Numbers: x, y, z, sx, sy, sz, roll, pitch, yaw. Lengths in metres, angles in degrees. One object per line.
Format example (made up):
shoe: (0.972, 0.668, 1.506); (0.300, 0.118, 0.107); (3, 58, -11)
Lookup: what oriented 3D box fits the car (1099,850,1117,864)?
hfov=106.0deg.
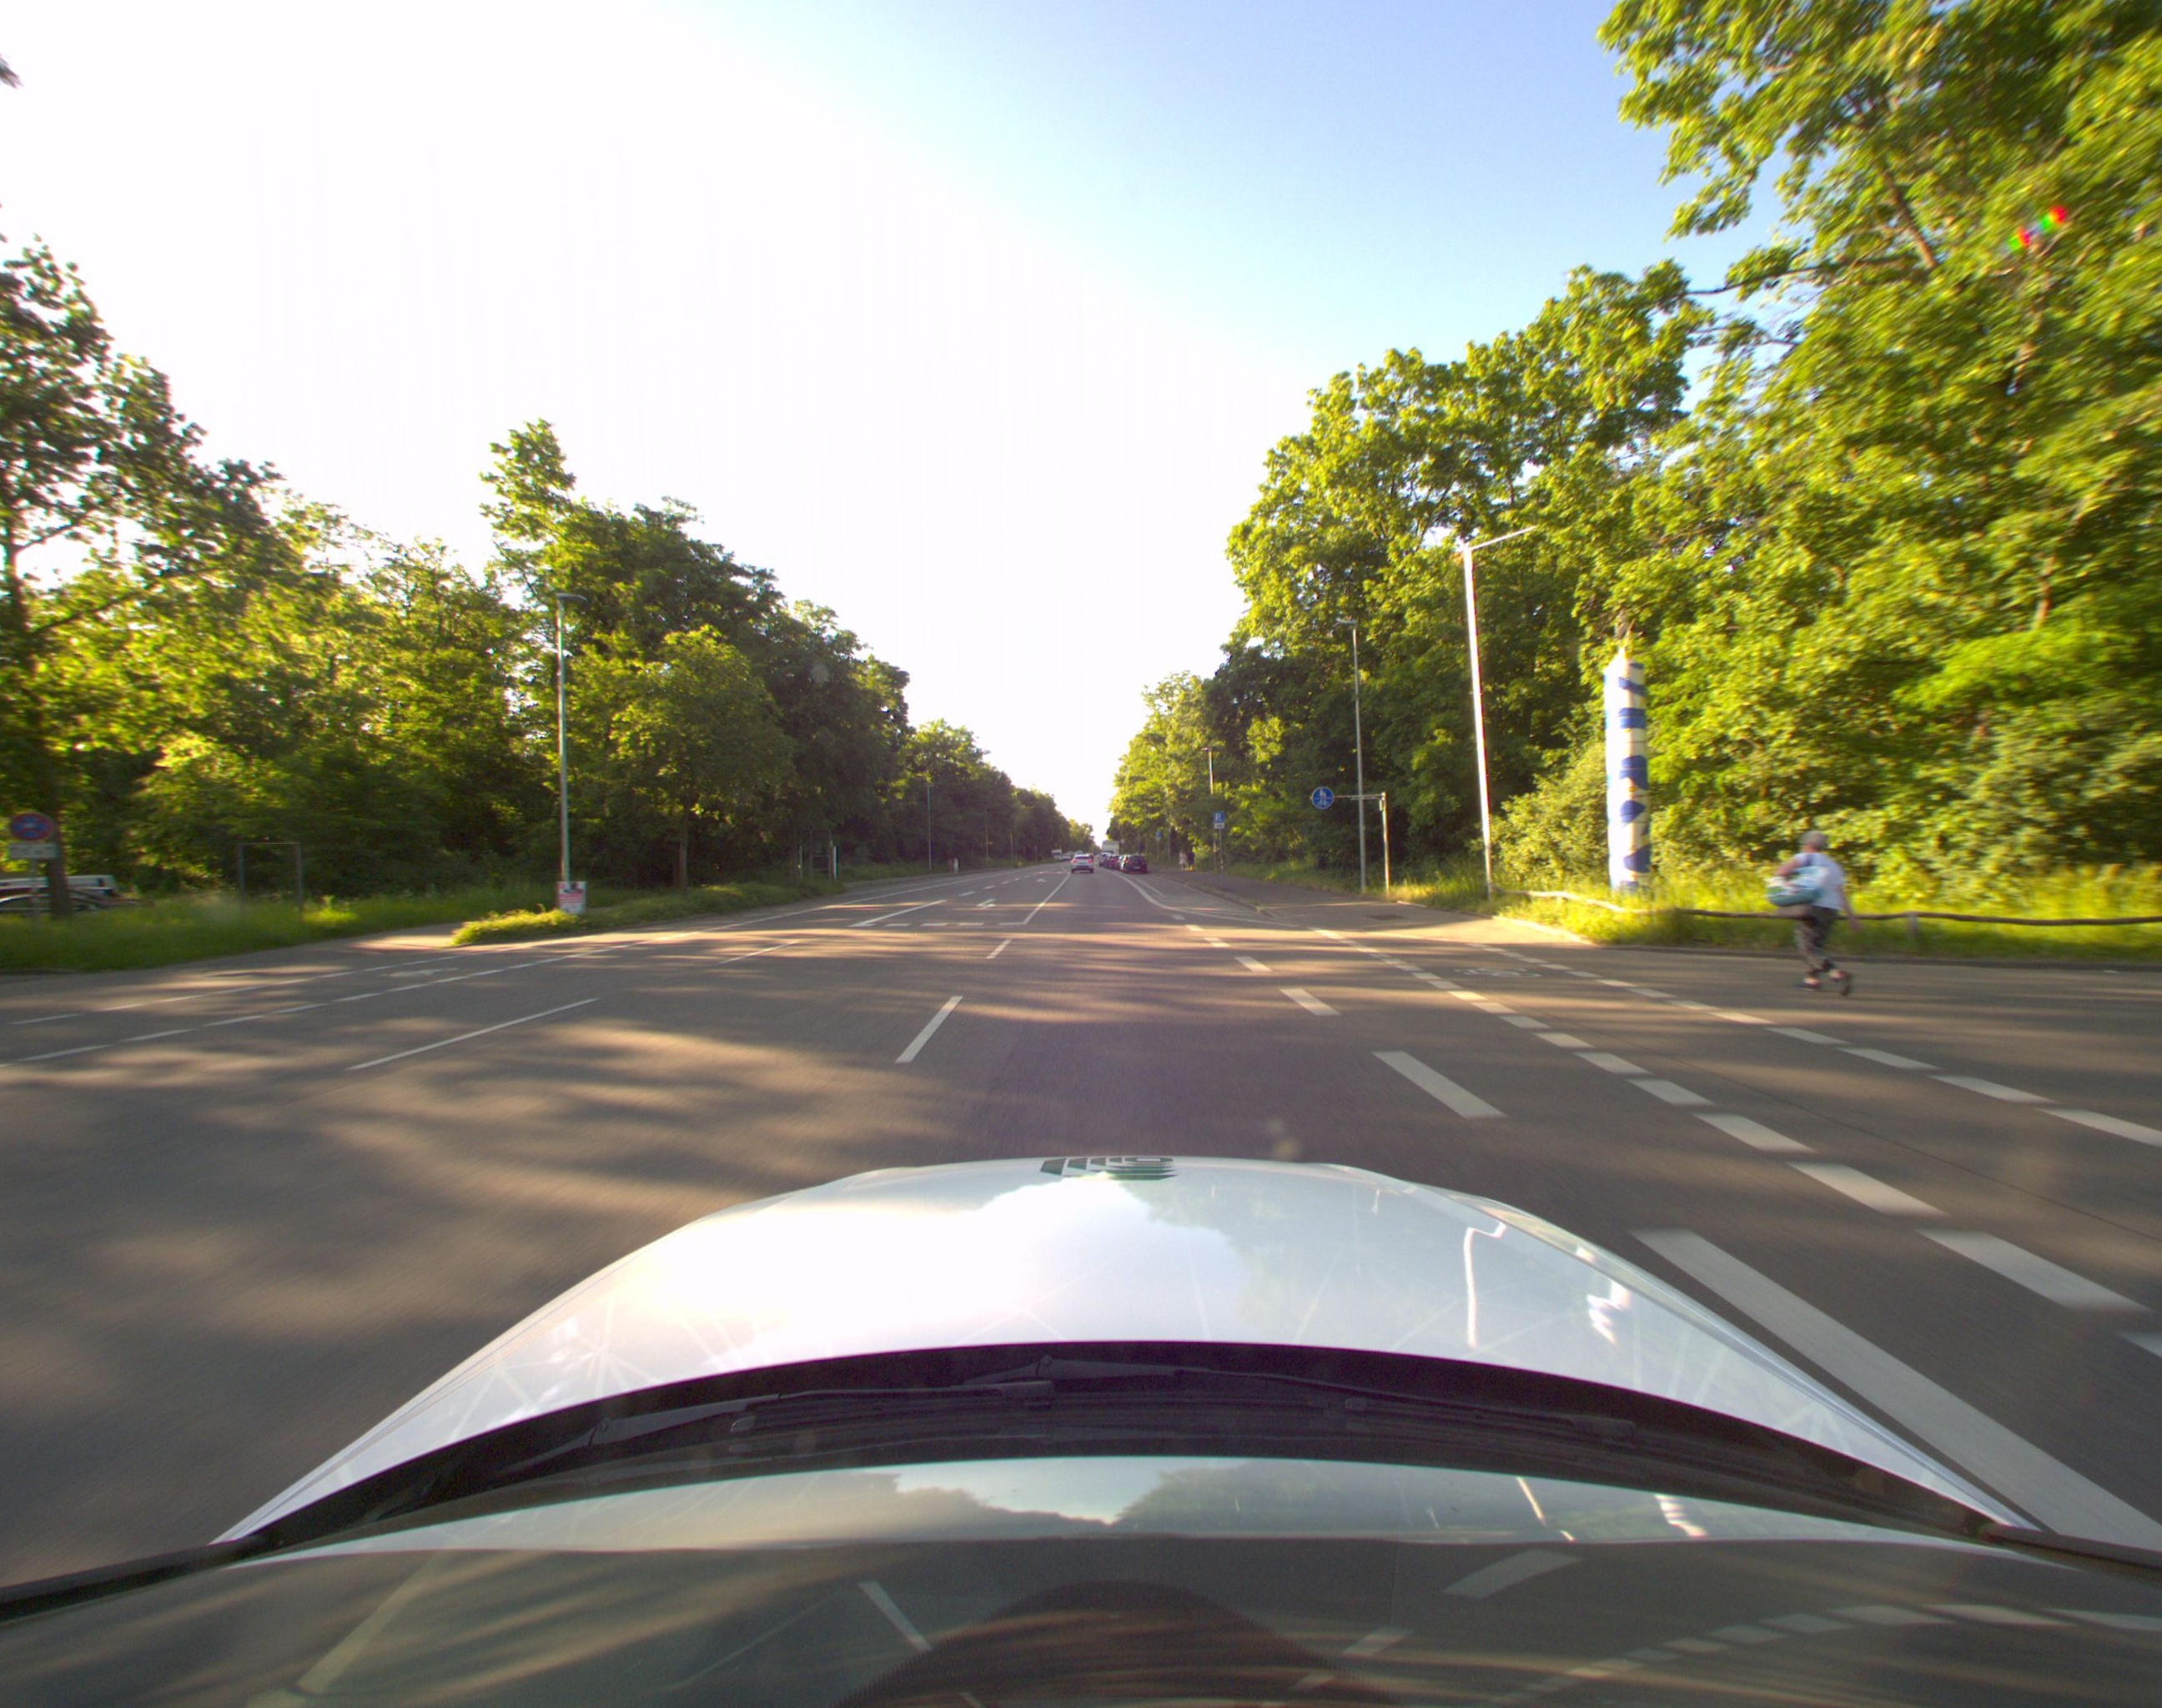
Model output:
car: (3.203, 0.373, 97.099); (1.986, 1.555, 4.002); (-2, 0, 2)

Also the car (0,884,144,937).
car: (-34.811, 1.891, 27.468); (1.974, 1.526, 4.026); (-1, 0, 36)

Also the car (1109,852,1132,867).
car: (3.870, 0.523, 81.008); (1.988, 1.327, 3.998); (-2, 0, -1)

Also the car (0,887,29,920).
car: (-59.933, 2.726, 43.712); (1.974, 1.739, 4.025); (-2, 0, 31)

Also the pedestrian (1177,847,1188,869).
pedestrian: (7.589, 0.293, 60.744); (0.696, 1.653, 0.876); (-2, 0, 1)

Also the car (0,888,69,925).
car: (-55.584, 2.735, 41.991); (1.974, 1.739, 4.025); (-2, 0, 31)

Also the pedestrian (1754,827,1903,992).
pedestrian: (7.451, 0.530, 8.162); (0.751, 1.563, 0.804); (-1, 0, 7)

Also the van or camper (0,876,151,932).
van or camper: (-38.789, 1.817, 30.127); (1.974, 2.014, 5.451); (-1, -3, 32)

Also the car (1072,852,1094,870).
car: (0.132, 0.597, 67.996); (1.756, 1.459, 3.815); (0, 0, -1)

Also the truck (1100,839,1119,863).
truck: (4.358, -0.451, 124.797); (2.790, 3.570, 8.035); (0, 0, 1)

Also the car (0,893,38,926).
car: (-51.729, 2.646, 37.676); (1.652, 1.466, 4.025); (-2, 0, 29)

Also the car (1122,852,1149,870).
car: (4.318, 0.551, 65.281); (1.986, 1.327, 4.002); (-2, 0, 2)

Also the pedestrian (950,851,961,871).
pedestrian: (-12.863, 0.752, 83.501); (0.827, 2.013, 1.270); (-2, 0, 4)

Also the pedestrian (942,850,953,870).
pedestrian: (-13.707, 0.606, 83.635); (0.860, 2.013, 1.270); (-2, 0, 4)

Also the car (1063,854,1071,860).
car: (-3.665, 0.776, 211.986); (1.987, 1.327, 4.000); (-2, 0, 0)

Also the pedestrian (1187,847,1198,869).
pedestrian: (8.330, 0.276, 60.819); (0.741, 1.599, 0.798); (-2, 0, 1)

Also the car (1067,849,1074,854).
car: (-2.985, -0.688, 235.042); (1.987, 1.327, 4.000); (-2, 0, 0)
